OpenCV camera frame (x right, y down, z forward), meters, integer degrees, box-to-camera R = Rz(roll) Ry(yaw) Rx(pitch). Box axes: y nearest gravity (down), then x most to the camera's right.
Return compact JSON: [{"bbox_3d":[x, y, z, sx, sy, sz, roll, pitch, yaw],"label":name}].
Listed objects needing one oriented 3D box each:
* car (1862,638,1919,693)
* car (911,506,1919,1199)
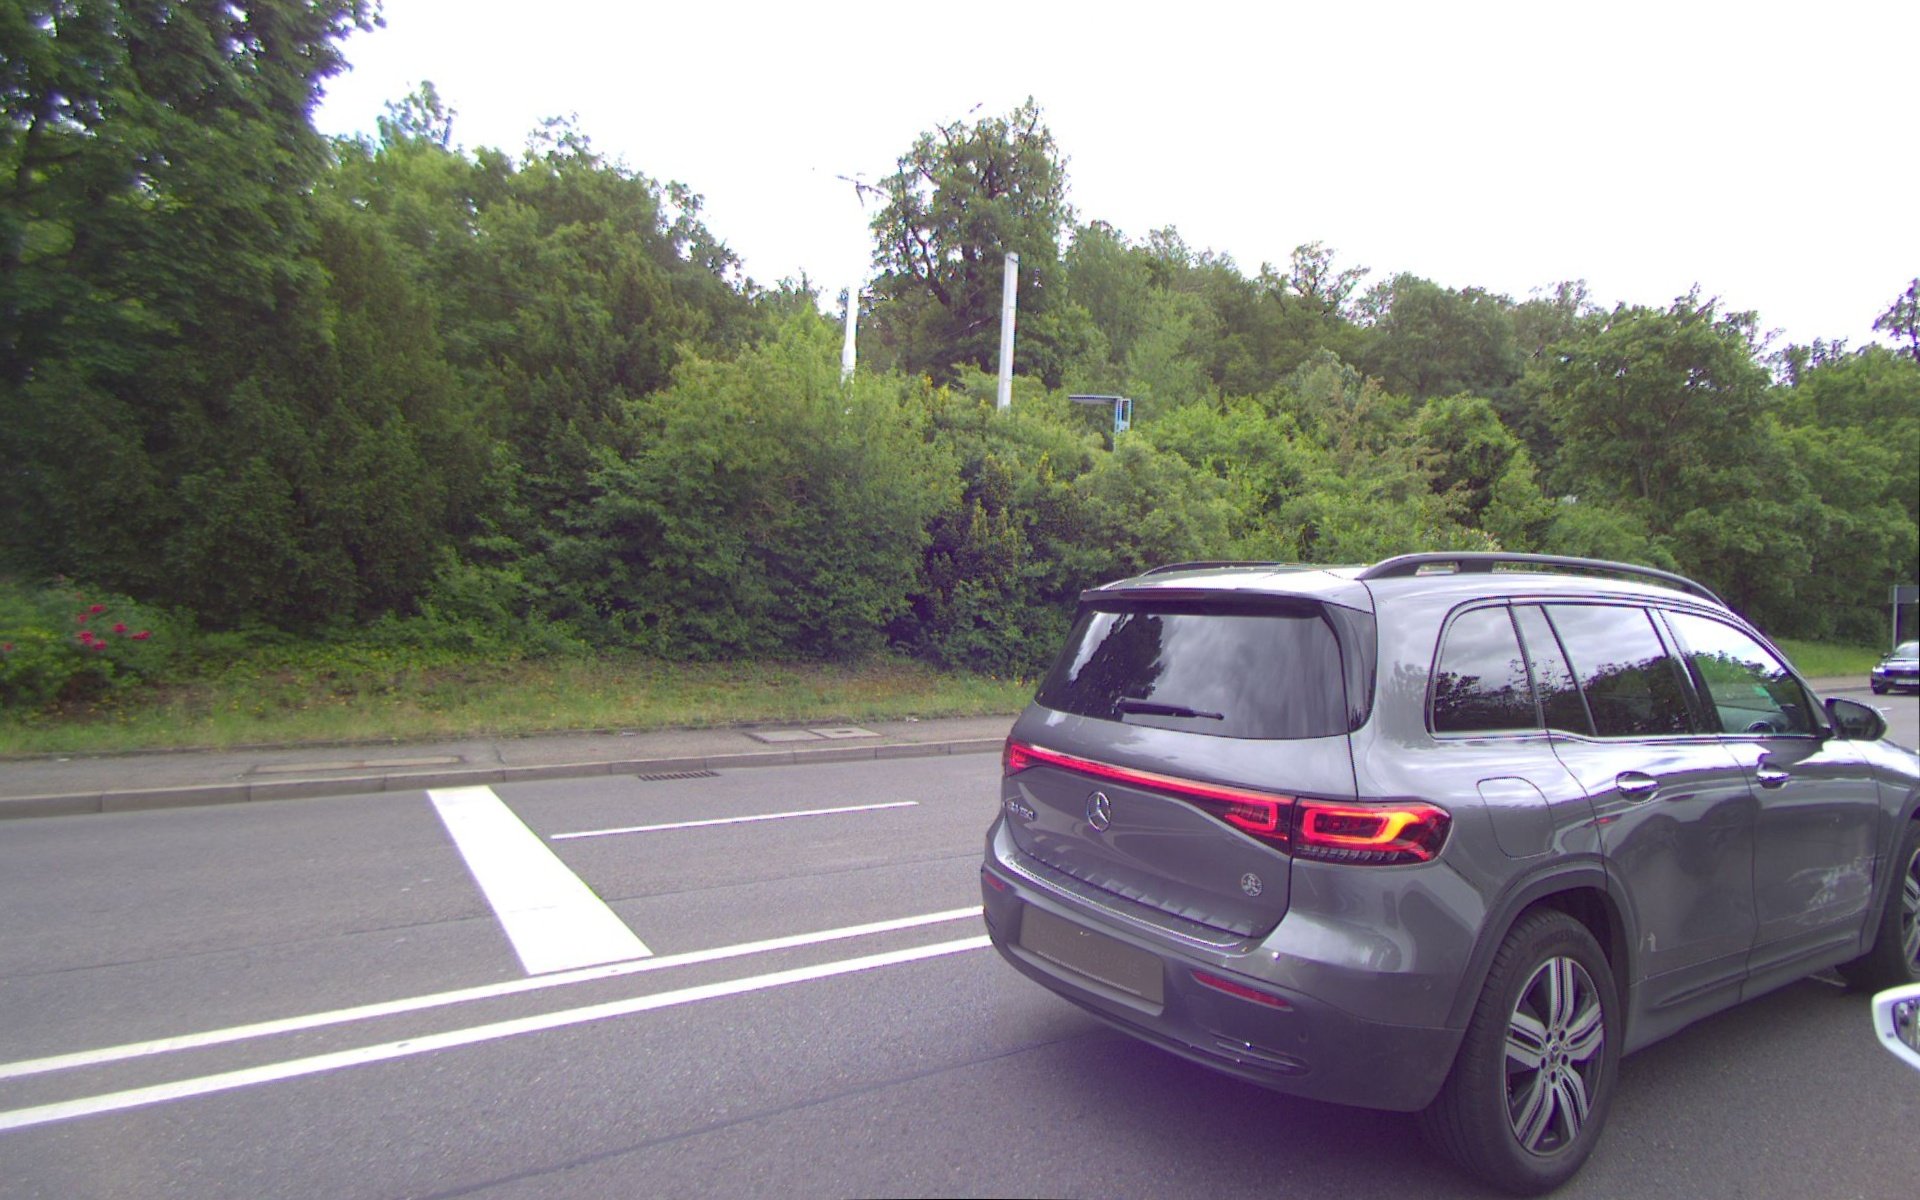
[{"bbox_3d":[26.157,1.728,26.971,4.310,1.413,1.671,2,-2,-31],"label":"car"},{"bbox_3d":[2.137,0.701,3.925,4.309,1.673,1.839,1,-1,-32],"label":"car"}]
